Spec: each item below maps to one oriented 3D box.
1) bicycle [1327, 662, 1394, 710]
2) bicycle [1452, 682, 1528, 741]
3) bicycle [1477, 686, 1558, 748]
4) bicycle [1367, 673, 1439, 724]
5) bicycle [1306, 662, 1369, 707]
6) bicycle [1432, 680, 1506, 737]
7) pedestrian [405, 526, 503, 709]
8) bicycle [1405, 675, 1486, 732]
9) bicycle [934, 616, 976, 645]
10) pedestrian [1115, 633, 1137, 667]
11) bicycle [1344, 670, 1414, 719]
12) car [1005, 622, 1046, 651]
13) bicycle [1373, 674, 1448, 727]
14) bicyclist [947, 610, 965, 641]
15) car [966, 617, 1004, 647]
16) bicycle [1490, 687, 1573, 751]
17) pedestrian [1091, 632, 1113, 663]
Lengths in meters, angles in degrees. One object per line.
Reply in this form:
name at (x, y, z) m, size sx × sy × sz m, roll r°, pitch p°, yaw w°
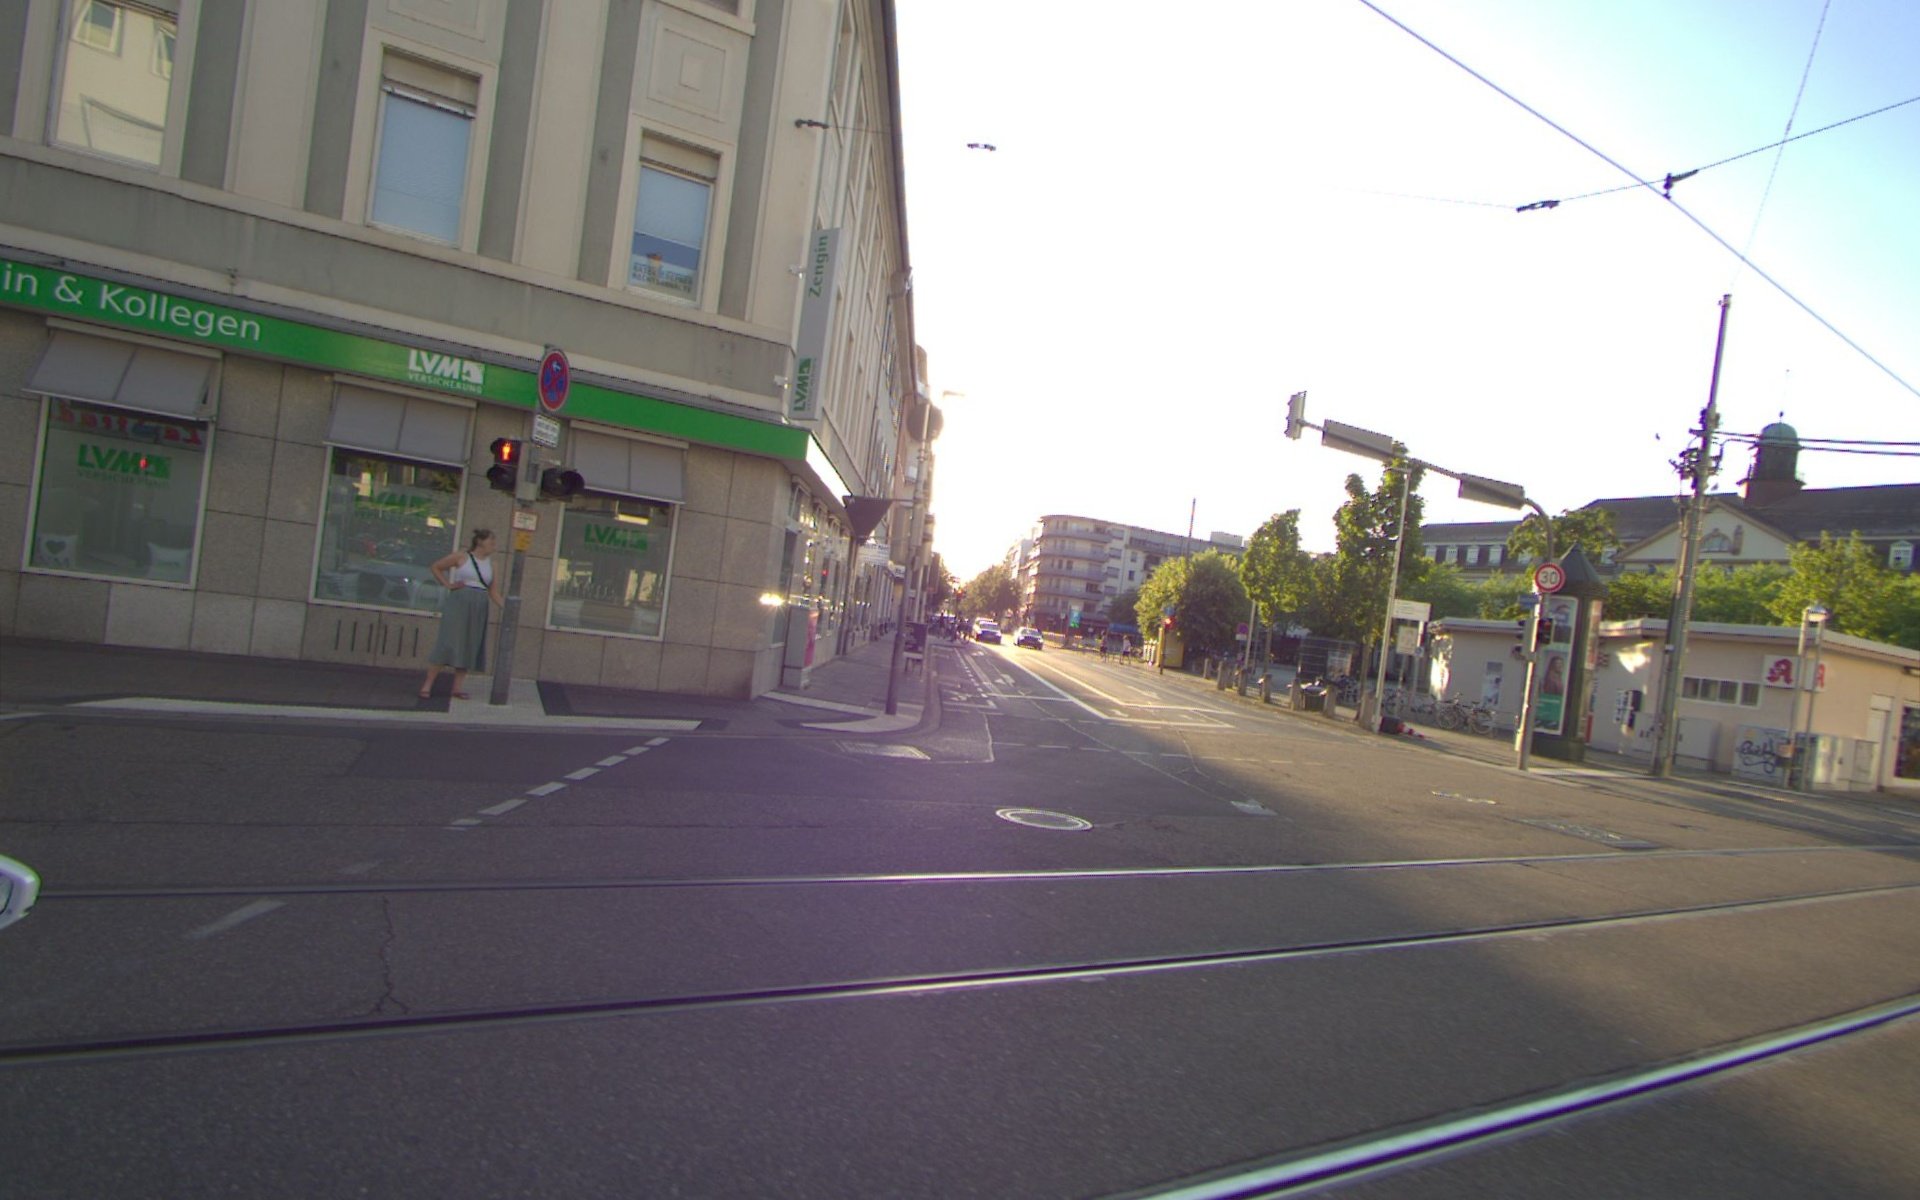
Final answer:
bicycle at (15.824, 3.390, 39.793) m, size 2.189 × 1.541 × 0.681 m, roll 8°, pitch 0°, yaw -1°
bicycle at (16.496, 3.476, 31.331) m, size 1.956 × 1.541 × 0.479 m, roll 8°, pitch 0°, yaw -1°
bicycle at (16.669, 3.498, 30.107) m, size 1.954 × 1.541 × 0.479 m, roll 8°, pitch 0°, yaw 5°
bicycle at (16.447, 3.638, 37.351) m, size 2.189 × 1.541 × 0.681 m, roll 8°, pitch 0°, yaw -1°
bicycle at (15.570, 3.485, 41.548) m, size 2.188 × 1.541 × 0.681 m, roll 8°, pitch 0°, yaw 3°
bicycle at (16.373, 3.491, 32.364) m, size 1.956 × 1.541 × 0.479 m, roll 8°, pitch 0°, yaw -1°
pedestrian at (-5.310, 0.182, 10.592) m, size 0.663 × 1.800 × 0.644 m, roll 7°, pitch 0°, yaw -21°
bicycle at (16.139, 3.434, 33.441) m, size 2.189 × 1.541 × 0.681 m, roll 8°, pitch 0°, yaw -1°
bicycle at (-0.303, 1.808, 58.982) m, size 2.187 × 1.419 × 0.681 m, roll 8°, pitch 0°, yaw 16°
pedestrian at (10.510, 3.175, 63.834) m, size 0.976 × 1.980 × 0.806 m, roll 7°, pitch 0°, yaw 25°
bicycle at (15.992, 3.591, 38.417) m, size 2.189 × 1.541 × 0.681 m, roll 8°, pitch 0°, yaw -1°
car at (4.721, 2.625, 72.920) m, size 2.269 × 1.698 × 5.531 m, roll 8°, pitch -1°, yaw -2°
bicycle at (16.123, 3.596, 36.042) m, size 2.189 × 1.541 × 0.681 m, roll 8°, pitch 0°, yaw -1°
bicyclist at (-0.223, 1.511, 58.966) m, size 0.657 × 1.728 × 0.681 m, roll 7°, pitch 0°, yaw 16°
car at (1.718, 2.224, 71.291) m, size 2.269 × 1.698 × 5.531 m, roll 8°, pitch -1°, yaw -2°
bicycle at (16.405, 3.421, 28.913) m, size 1.956 × 1.541 × 0.479 m, roll 8°, pitch 0°, yaw -2°
pedestrian at (8.848, 2.958, 62.684) m, size 0.976 × 1.805 × 0.806 m, roll 7°, pitch 0°, yaw 25°
